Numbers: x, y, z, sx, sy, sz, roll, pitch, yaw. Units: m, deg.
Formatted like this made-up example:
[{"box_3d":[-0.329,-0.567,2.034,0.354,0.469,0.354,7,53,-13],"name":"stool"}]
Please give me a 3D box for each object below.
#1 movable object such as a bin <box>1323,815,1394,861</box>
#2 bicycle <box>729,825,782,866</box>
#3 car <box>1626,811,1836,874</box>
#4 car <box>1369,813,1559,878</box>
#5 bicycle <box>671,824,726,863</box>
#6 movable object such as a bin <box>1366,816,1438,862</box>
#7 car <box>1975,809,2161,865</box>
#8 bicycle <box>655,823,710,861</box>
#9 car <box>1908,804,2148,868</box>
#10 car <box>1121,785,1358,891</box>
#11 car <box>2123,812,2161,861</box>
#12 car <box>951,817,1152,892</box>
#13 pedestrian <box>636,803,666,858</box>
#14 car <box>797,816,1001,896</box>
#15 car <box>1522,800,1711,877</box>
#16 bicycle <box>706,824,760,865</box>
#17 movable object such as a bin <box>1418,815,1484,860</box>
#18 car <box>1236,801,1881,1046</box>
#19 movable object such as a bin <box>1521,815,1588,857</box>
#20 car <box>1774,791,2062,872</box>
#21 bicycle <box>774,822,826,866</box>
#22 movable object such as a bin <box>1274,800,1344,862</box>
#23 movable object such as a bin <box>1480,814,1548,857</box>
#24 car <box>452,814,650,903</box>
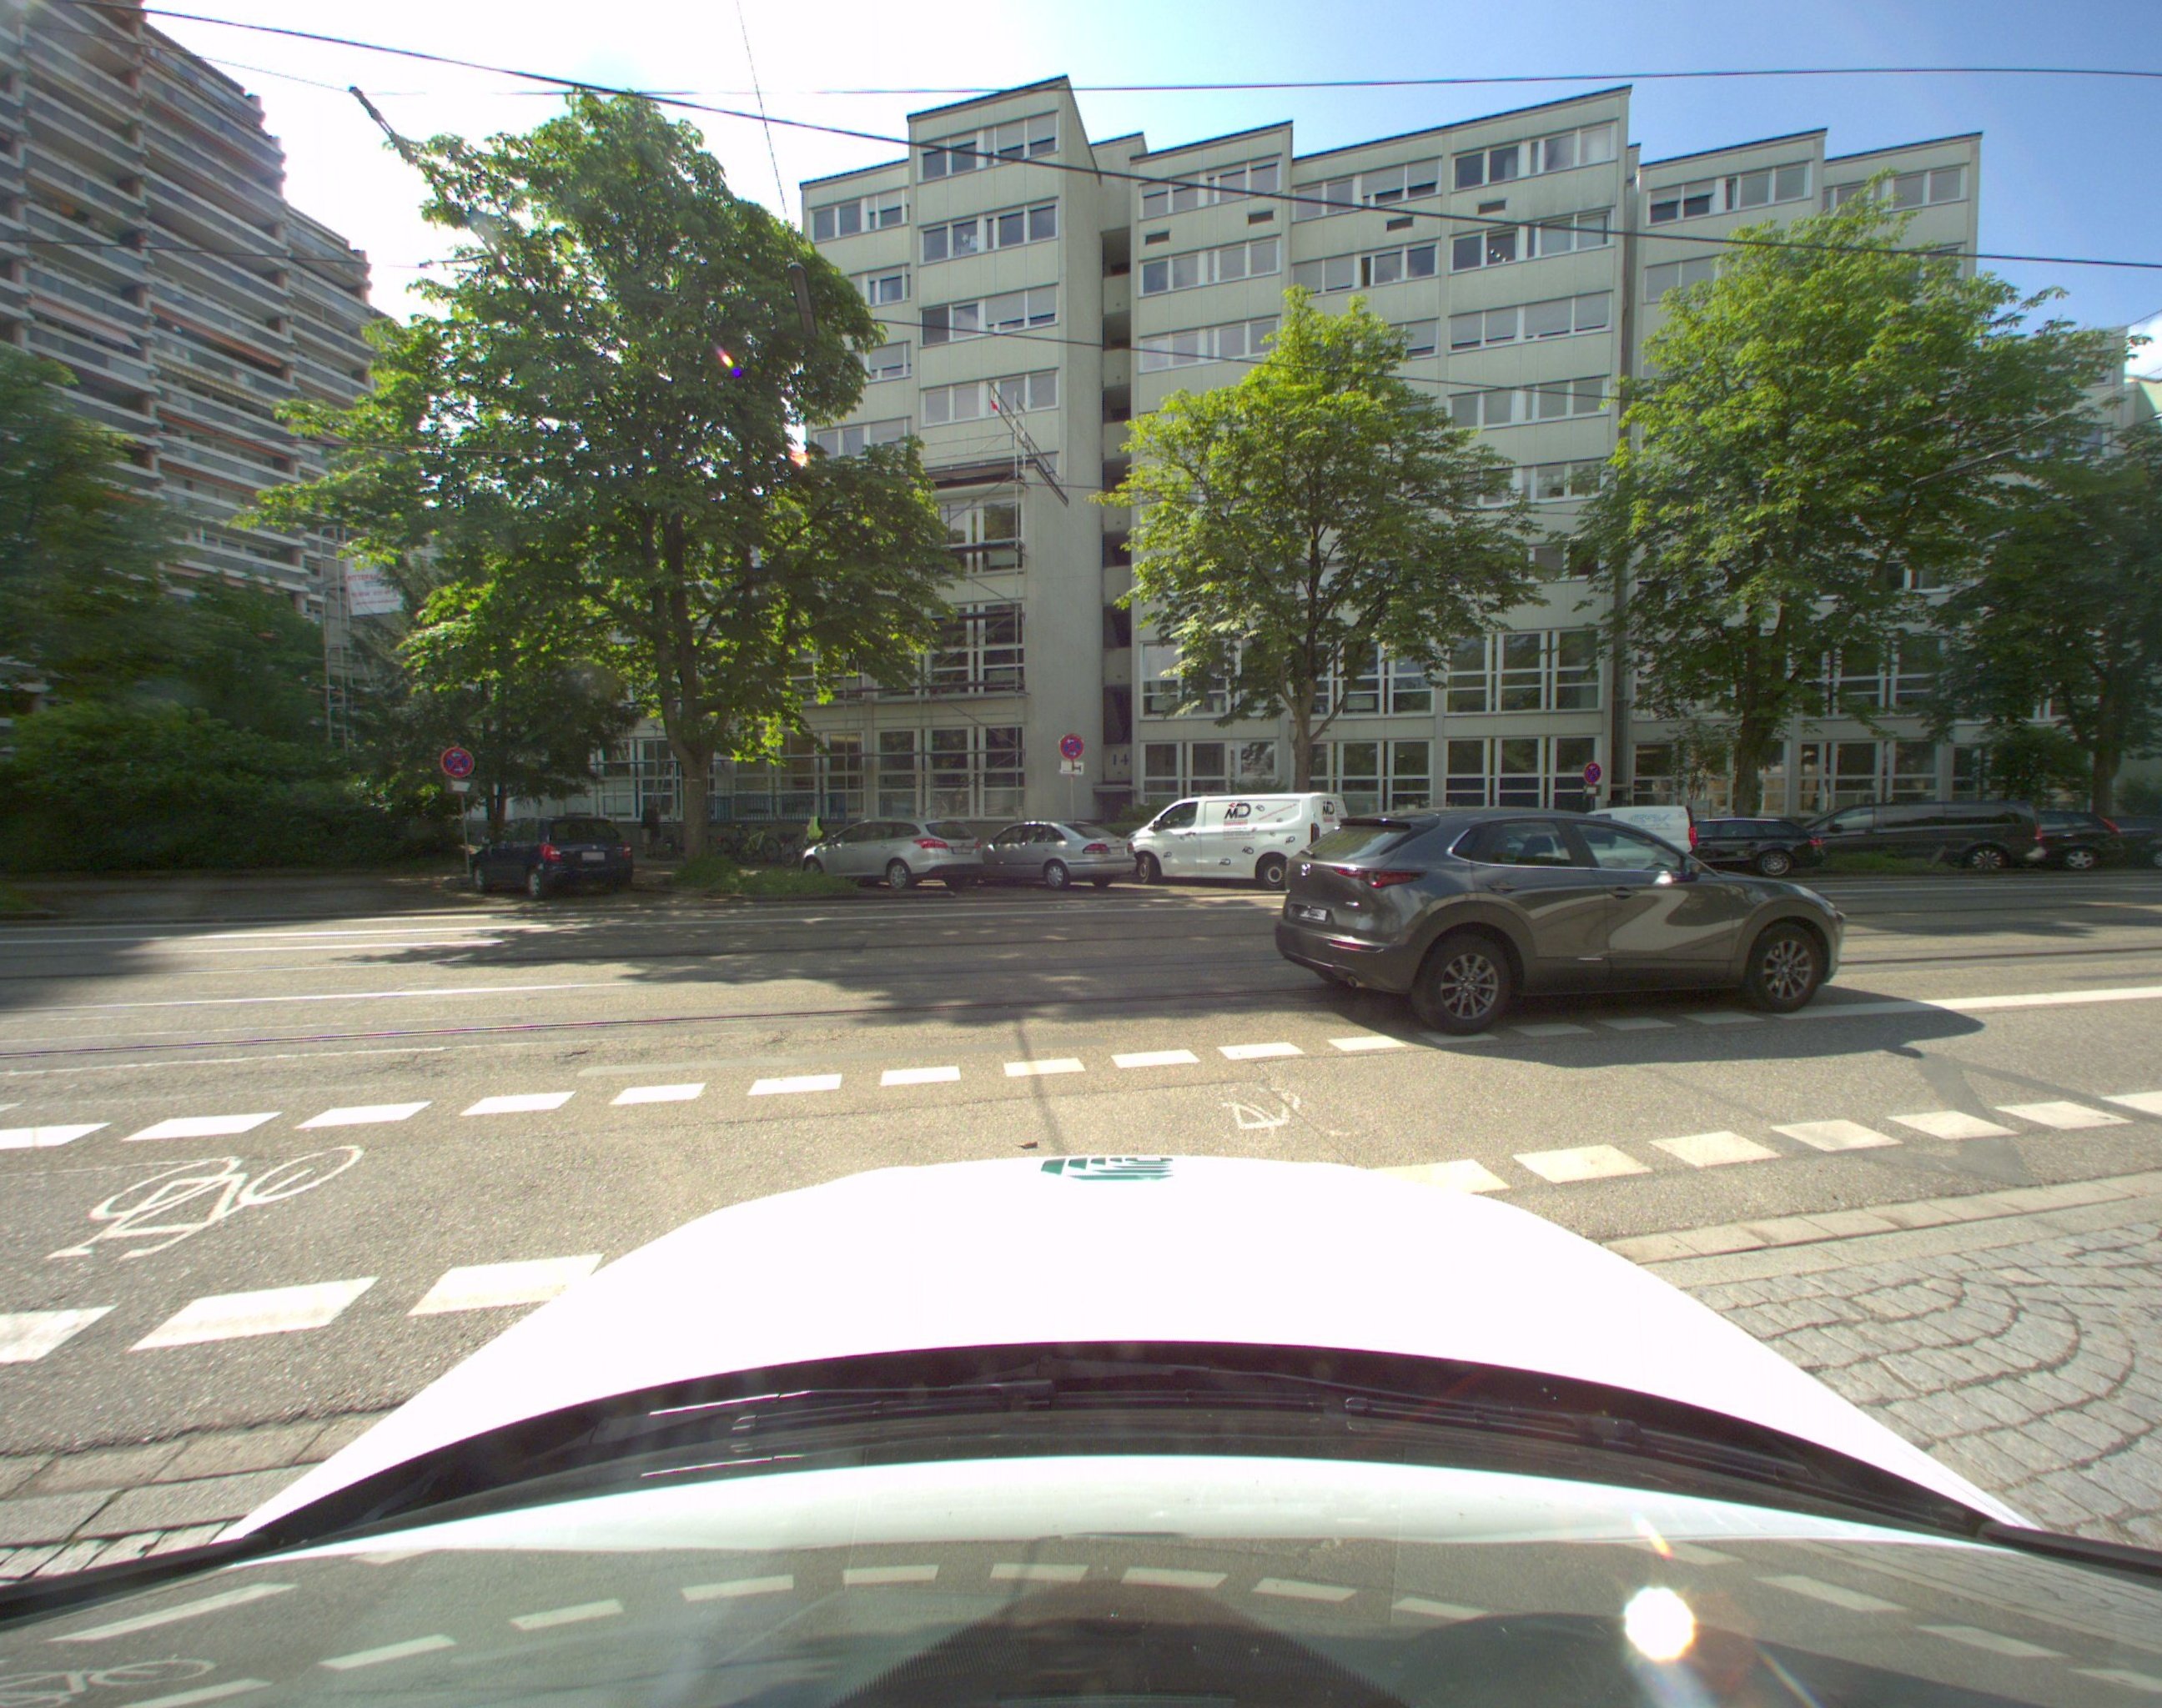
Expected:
[{"box_3d":[8.367,-0.464,24.639,1.536,1.364,1.385,0,0,-14],"name":"movable object such as a bin"},{"box_3d":[-9.407,-0.261,23.571,0.536,1.121,1.587,-2,2,14],"name":"bicycle"},{"box_3d":[15.934,-0.263,20.257,3.948,1.417,1.772,0,1,34],"name":"car"},{"box_3d":[9.084,-0.177,19.432,3.949,1.417,1.733,0,0,28],"name":"car"},{"box_3d":[-11.325,-0.333,24.177,0.536,1.092,1.587,-2,2,14],"name":"bicycle"},{"box_3d":[9.871,-0.452,25.107,1.536,1.364,1.385,0,0,-14],"name":"movable object such as a bin"},{"box_3d":[28.394,-0.453,23.026,3.948,1.484,1.752,0,1,37],"name":"car"},{"box_3d":[-12.091,-0.393,24.745,0.536,1.080,1.587,-2,2,14],"name":"bicycle"},{"box_3d":[25.526,-0.445,22.176,3.948,1.593,1.752,0,1,35],"name":"car"},{"box_3d":[3.327,-0.384,17.592,4.626,1.997,1.982,2,3,38],"name":"car"},{"box_3d":[34.940,-0.556,24.713,3.758,1.484,1.709,0,1,34],"name":"car"},{"box_3d":[-0.705,-0.065,17.722,4.117,1.449,1.834,2,3,37],"name":"car"},{"box_3d":[-13.009,-0.714,24.645,0.661,1.623,0.638,0,3,-18],"name":"pedestrian"},{"box_3d":[-3.890,-0.041,17.196,4.139,1.500,1.834,1,3,34],"name":"car"},{"box_3d":[12.843,-0.348,19.633,3.667,1.693,1.772,0,1,36],"name":"car"},{"box_3d":[-10.128,-0.285,23.727,0.536,1.113,1.587,-2,2,14],"name":"bicycle"},{"box_3d":[11.518,-0.499,25.374,1.439,1.380,1.191,0,-1,-14],"name":"movable object such as a bin"},{"box_3d":[3.604,0.362,6.465,4.339,1.511,1.789,-1,4,-12],"name":"car"},{"box_3d":[14.937,-0.554,25.722,1.438,1.283,1.167,0,-1,-11],"name":"movable object such as a bin"},{"box_3d":[22.070,-0.552,21.852,5.101,1.954,1.929,0,0,34],"name":"car"},{"box_3d":[-7.951,-0.305,23.097,0.536,1.162,1.587,-2,2,14],"name":"bicycle"},{"box_3d":[6.788,-0.660,24.291,1.536,1.781,1.385,0,-1,-14],"name":"movable object such as a bin"},{"box_3d":[13.500,-0.565,25.422,1.438,1.327,1.163,0,-1,-12],"name":"movable object such as a bin"},{"box_3d":[-10.250,-0.006,15.696,3.835,1.523,1.754,2,4,33],"name":"car"}]
